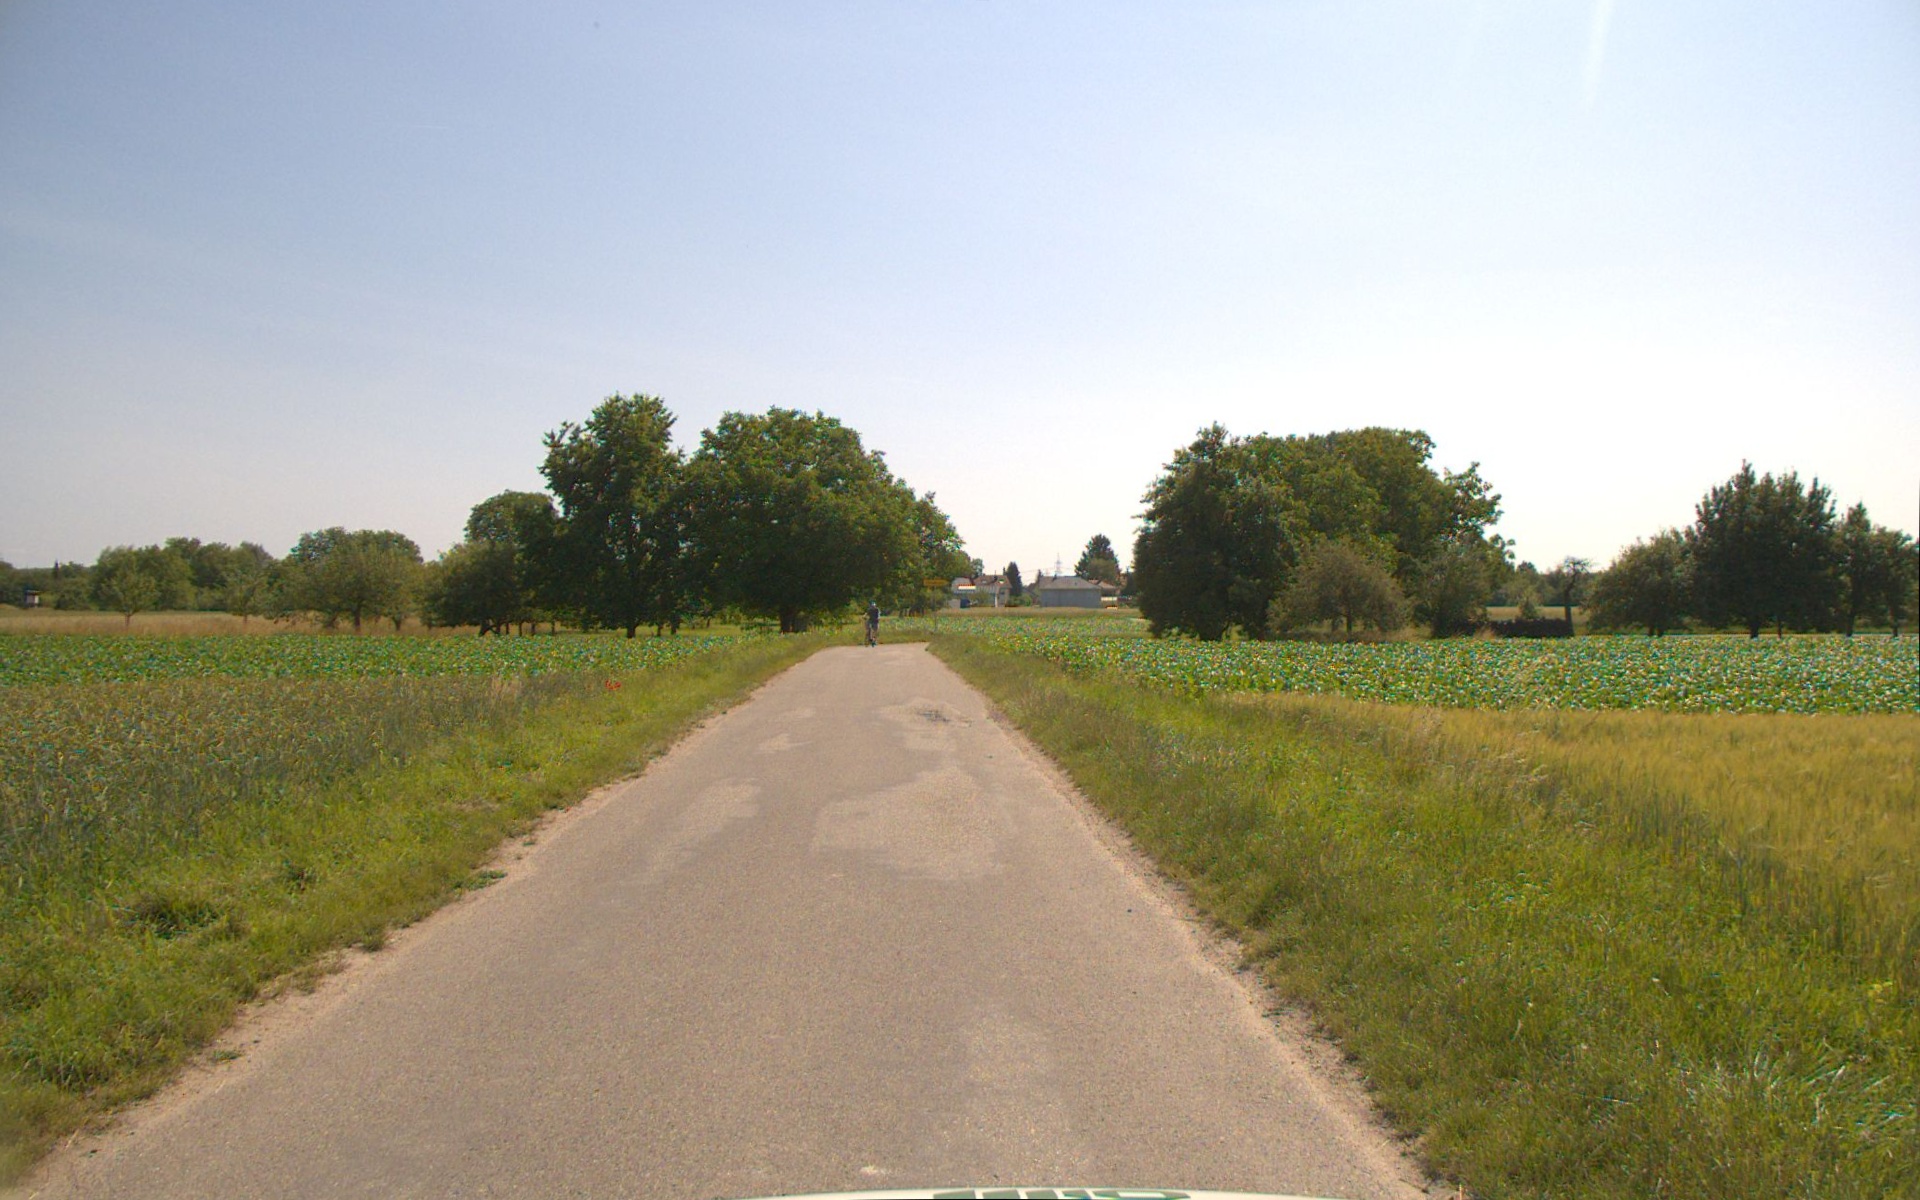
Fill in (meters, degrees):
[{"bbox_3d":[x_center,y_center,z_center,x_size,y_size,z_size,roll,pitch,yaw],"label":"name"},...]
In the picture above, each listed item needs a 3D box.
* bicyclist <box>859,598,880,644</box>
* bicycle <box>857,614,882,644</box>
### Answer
[{"bbox_3d":[-3.716,0.856,67.925,0.735,1.822,0.717,-2,-1,5],"label":"bicyclist"},{"bbox_3d":[-3.709,1.185,67.918,0.735,1.147,1.909,-2,0,5],"label":"bicycle"}]
